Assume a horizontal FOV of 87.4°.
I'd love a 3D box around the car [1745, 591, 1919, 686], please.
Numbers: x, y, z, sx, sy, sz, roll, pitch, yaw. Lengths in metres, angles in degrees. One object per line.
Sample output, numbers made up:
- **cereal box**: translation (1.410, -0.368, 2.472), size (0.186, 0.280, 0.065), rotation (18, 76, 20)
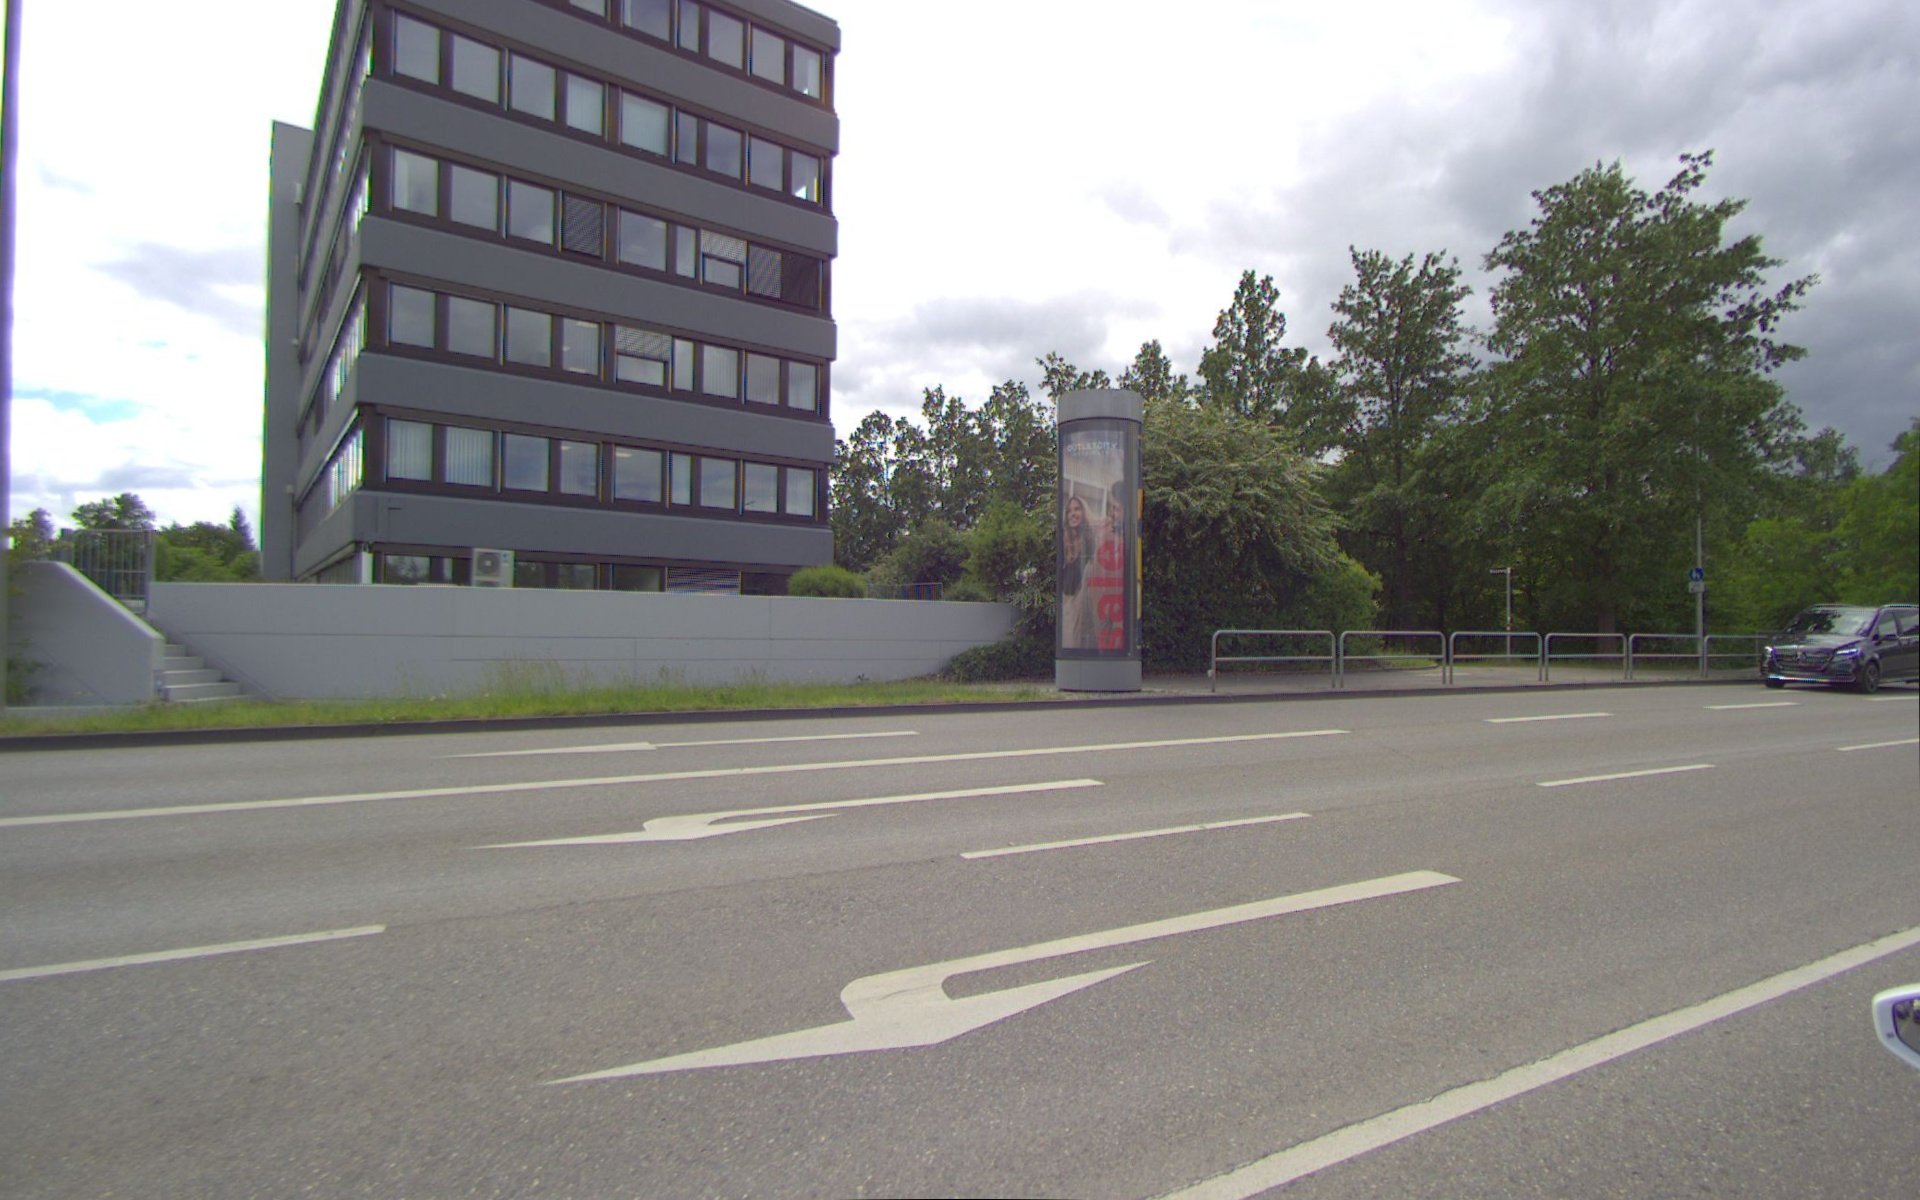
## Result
- **car**: translation (20.368, 0.855, 22.928), size (5.300, 1.973, 2.009), rotation (1, -1, -29)
